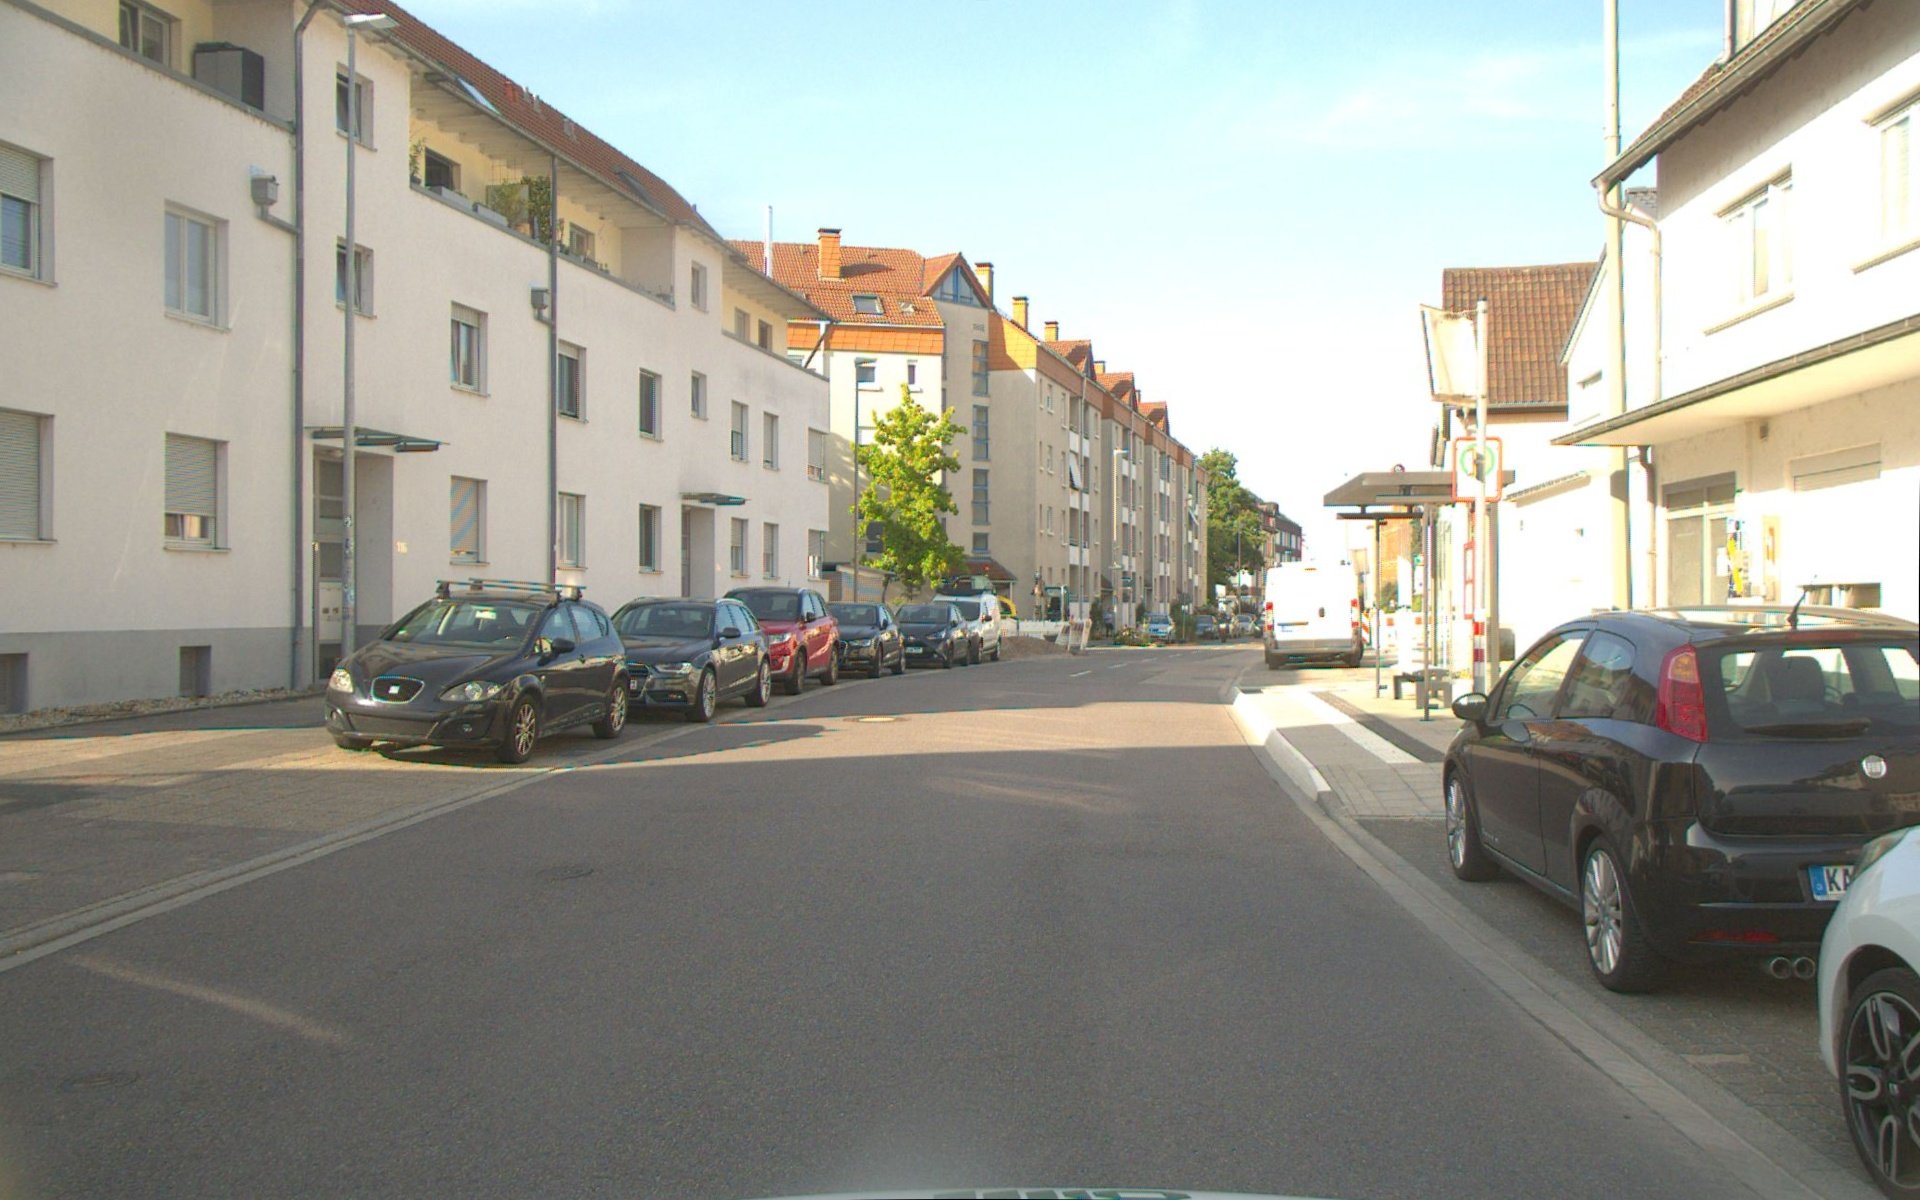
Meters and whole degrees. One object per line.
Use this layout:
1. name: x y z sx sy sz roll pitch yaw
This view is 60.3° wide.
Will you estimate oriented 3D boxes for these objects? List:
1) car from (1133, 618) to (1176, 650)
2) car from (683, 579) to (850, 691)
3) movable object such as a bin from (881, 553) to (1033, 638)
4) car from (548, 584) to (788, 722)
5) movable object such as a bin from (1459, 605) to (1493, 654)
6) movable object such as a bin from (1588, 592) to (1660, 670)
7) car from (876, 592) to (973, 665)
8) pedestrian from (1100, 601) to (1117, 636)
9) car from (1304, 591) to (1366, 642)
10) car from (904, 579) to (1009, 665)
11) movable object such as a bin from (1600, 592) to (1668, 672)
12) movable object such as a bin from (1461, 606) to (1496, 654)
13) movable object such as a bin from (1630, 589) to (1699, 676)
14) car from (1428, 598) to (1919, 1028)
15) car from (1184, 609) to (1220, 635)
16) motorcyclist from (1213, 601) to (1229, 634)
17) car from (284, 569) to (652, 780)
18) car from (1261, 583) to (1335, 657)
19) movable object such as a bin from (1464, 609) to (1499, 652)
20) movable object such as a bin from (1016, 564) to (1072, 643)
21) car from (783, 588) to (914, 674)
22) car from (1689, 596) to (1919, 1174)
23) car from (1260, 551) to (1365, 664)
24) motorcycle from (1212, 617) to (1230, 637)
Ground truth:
1. car: 9.260 1.606 78.608 1.605 1.420 3.674 -1 0 13
2. car: -3.023 0.503 26.706 1.690 1.650 4.267 0 0 7
3. movable object such as a bin: -0.090 -0.159 60.058 5.384 2.951 2.112 1 0 0
4. car: -3.574 0.585 21.138 1.690 1.503 4.506 2 1 7
5. movable object such as a bin: 12.187 0.691 39.063 0.712 1.152 0.554 0 -1 13
6. movable object such as a bin: 9.642 0.447 24.031 0.794 1.112 0.768 -1 0 8
7. car: -0.773 0.617 38.005 1.461 1.490 3.517 4 1 10
8. pedestrian: 8.142 1.000 90.435 0.703 1.849 0.746 3 2 15
9. car: 14.956 0.632 65.772 2.032 1.888 4.612 -2 0 17
10. car: -0.025 0.530 42.484 1.690 1.994 4.442 3 1 12
11. movable object such as a bin: 9.534 0.446 23.417 0.794 1.112 0.443 -1 -1 8
12. movable object such as a bin: 12.052 0.698 38.461 0.712 1.112 0.554 0 -1 13
13. movable object such as a bin: 9.188 0.420 21.595 0.681 1.112 0.559 -1 -1 6
14. car: 3.378 0.728 7.600 1.574 1.446 3.922 1 0 4
15. car: 14.111 1.258 96.328 1.650 1.430 4.087 1 0 14
16. motorcyclist: 13.427 0.911 85.082 0.752 1.681 0.844 1 0 11
17. car: -4.483 0.597 15.797 1.738 1.650 4.181 3 1 7
18. car: 8.781 0.485 42.859 1.740 1.771 4.487 -2 0 12
19. movable object such as a bin: 11.909 0.685 37.781 0.712 0.975 0.554 0 -1 13
20. movable object such as a bin: 3.559 0.119 69.446 1.612 3.193 3.903 1 1 13
21. car: -2.084 0.542 32.100 1.690 1.503 4.267 2 1 7
22. car: 3.225 0.729 3.239 1.680 1.422 4.334 1 0 0
23. car: 8.107 0.167 38.033 2.128 2.368 5.002 -2 0 12
24. motorcycle: 13.418 1.372 85.050 0.752 1.002 2.201 2 0 12
